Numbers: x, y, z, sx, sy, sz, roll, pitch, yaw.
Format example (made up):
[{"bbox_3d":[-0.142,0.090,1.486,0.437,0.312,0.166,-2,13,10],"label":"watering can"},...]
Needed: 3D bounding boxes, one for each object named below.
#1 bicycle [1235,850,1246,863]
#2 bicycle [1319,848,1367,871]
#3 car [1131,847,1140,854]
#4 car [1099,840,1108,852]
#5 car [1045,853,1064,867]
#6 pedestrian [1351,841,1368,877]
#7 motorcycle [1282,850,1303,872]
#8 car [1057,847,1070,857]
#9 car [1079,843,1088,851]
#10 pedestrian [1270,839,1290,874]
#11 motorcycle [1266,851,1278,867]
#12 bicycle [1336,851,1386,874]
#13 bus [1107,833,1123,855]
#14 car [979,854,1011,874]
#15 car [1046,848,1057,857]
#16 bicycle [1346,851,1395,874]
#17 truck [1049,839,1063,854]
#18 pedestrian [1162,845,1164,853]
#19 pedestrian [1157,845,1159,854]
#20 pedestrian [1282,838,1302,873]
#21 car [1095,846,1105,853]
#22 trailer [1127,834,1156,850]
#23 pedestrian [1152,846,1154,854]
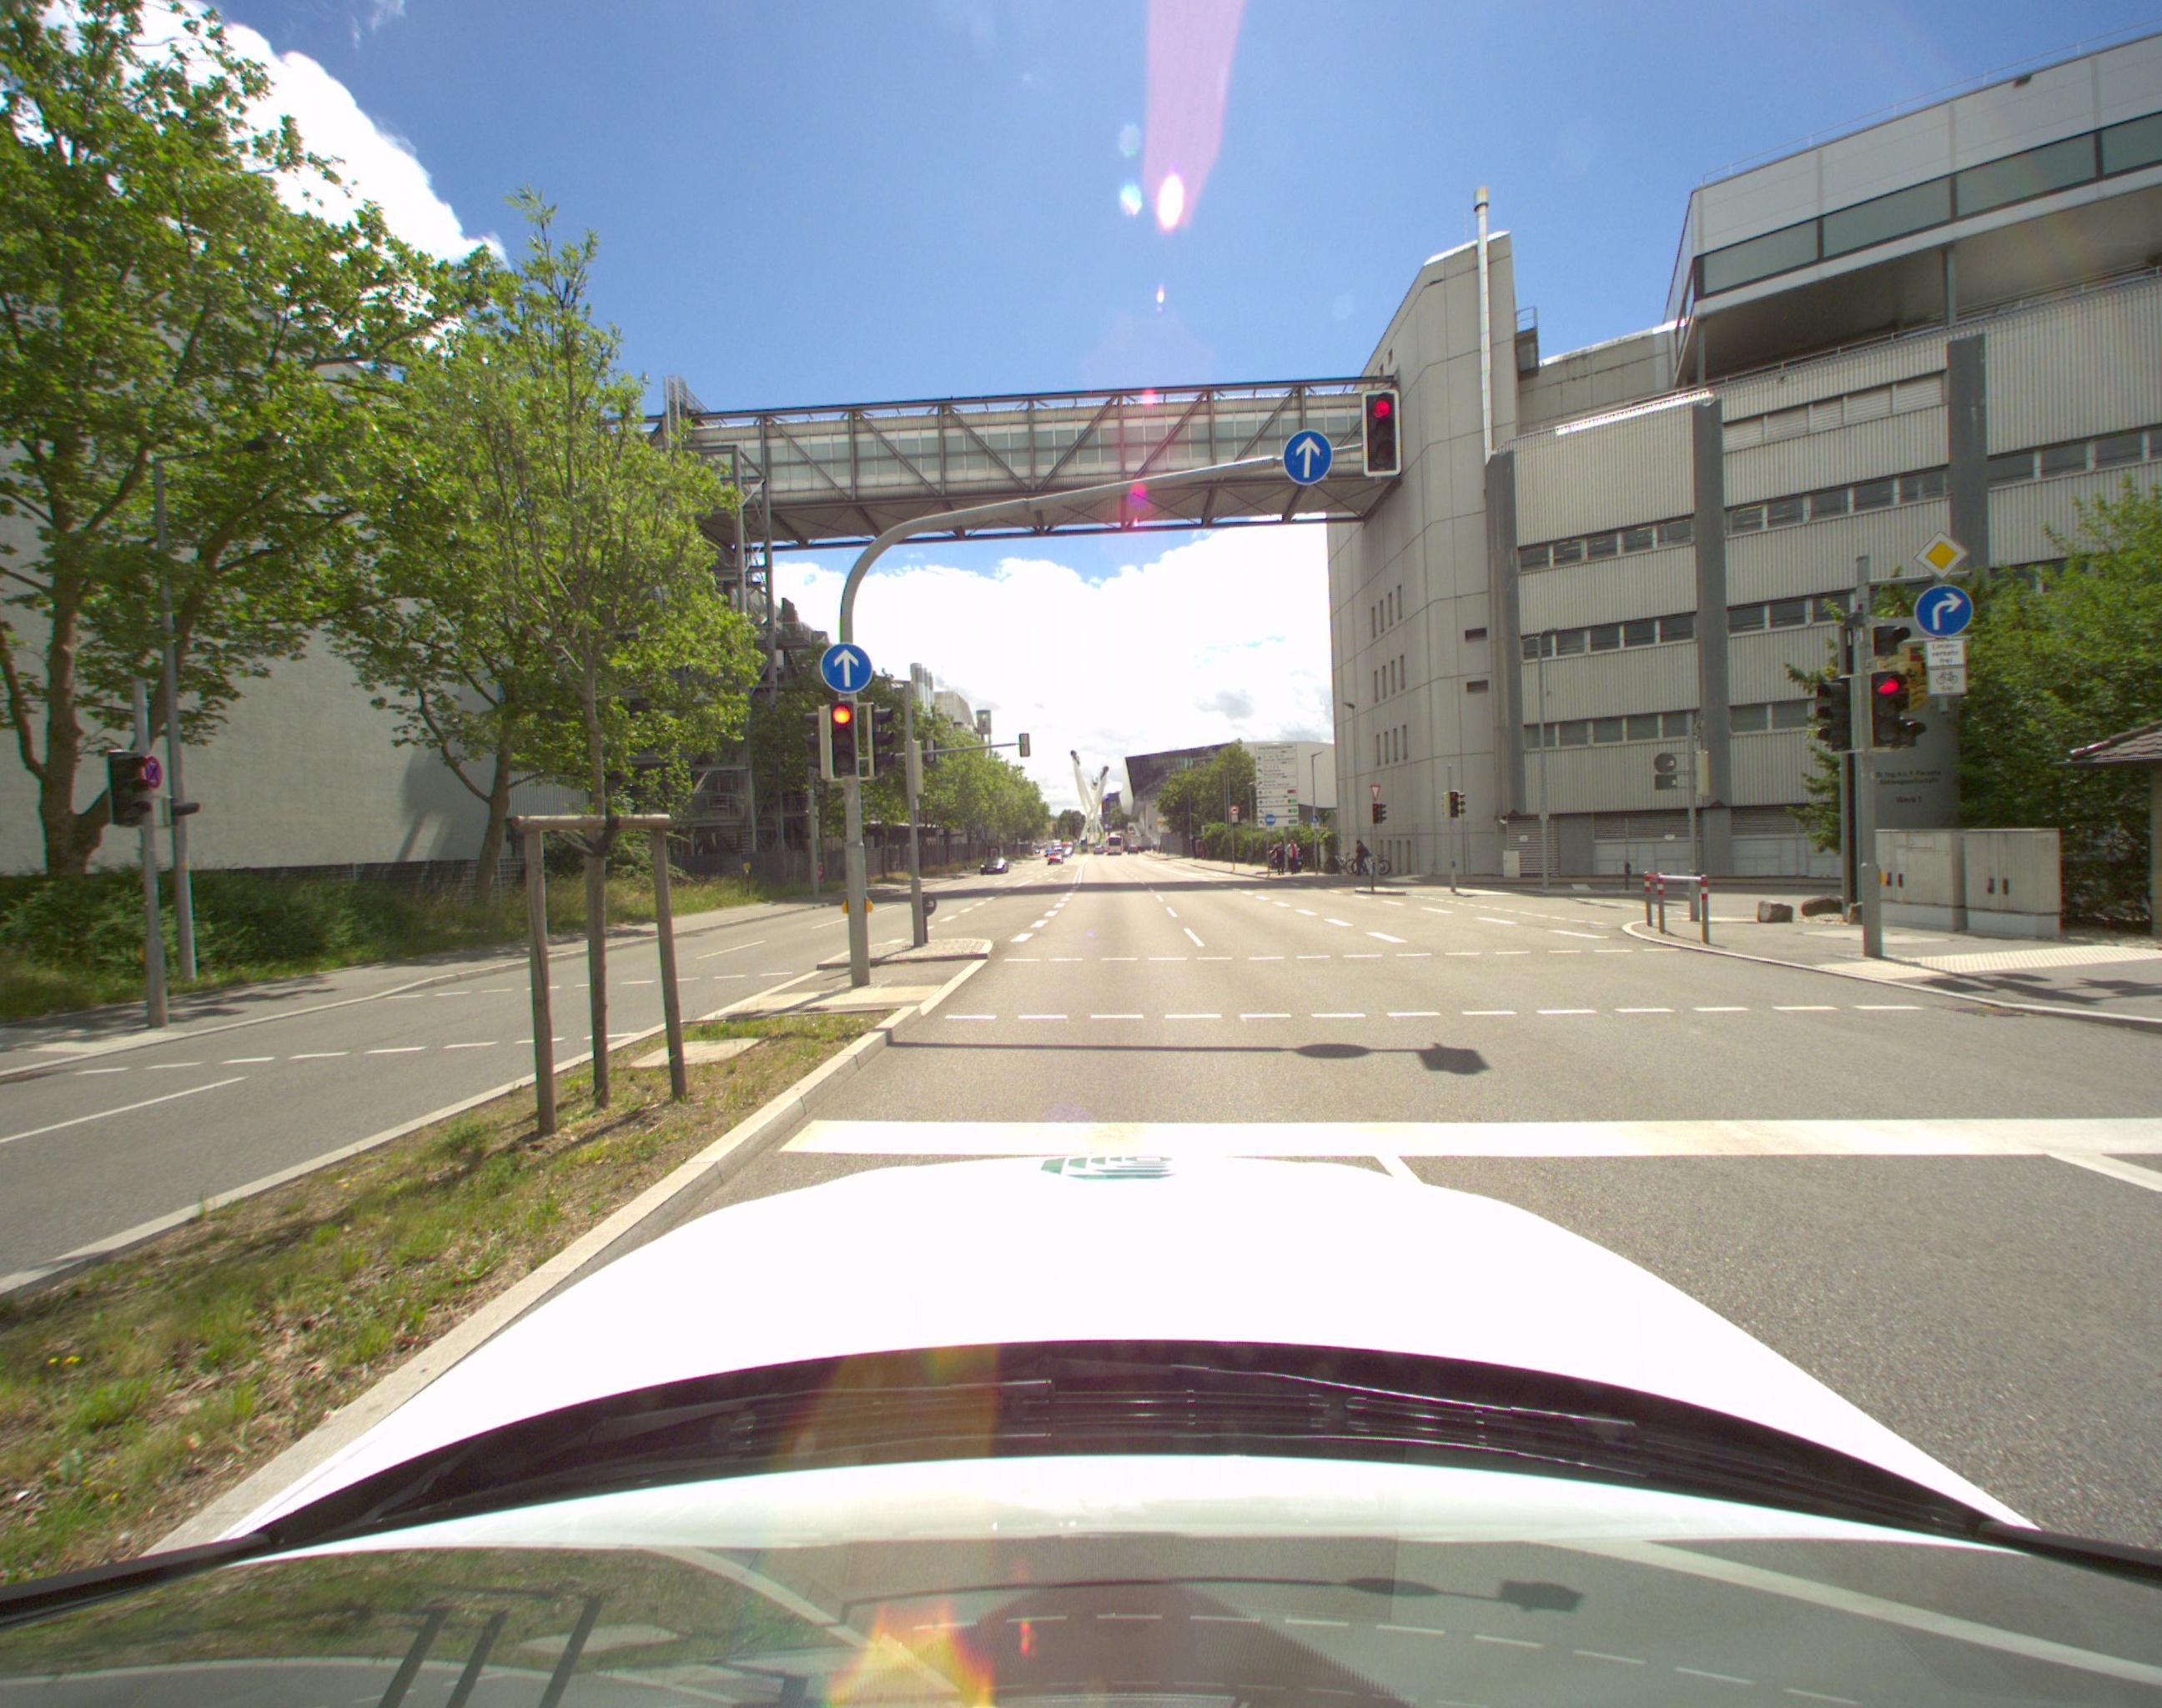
[{"bbox_3d":[12.724,0.174,65.125,0.417,1.022,1.911,0,-1,-2],"label":"bicycle"},{"bbox_3d":[13.083,0.280,40.699,2.196,1.086,0.480,-1,-1,37],"label":"bicycle"},{"bbox_3d":[9.831,-0.619,146.250,1.551,1.273,3.704,-4,0,3],"label":"car"},{"bbox_3d":[4.741,-1.662,171.397,1.837,2.624,4.000,0,-1,0],"label":"car"},{"bbox_3d":[-2.979,0.632,92.901,1.762,1.420,3.704,-4,0,3],"label":"car"},{"bbox_3d":[12.959,0.223,37.930,0.650,1.640,0.538,-1,-1,30],"label":"pedestrian"},{"bbox_3d":[11.649,0.399,44.890,0.418,1.166,1.951,0,-1,-9],"label":"motorcycle"},{"bbox_3d":[-2.759,-0.368,131.452,1.762,1.420,3.704,-4,0,3],"label":"car"},{"bbox_3d":[0.437,-1.346,156.140,1.551,1.273,3.704,-4,0,3],"label":"car"},{"bbox_3d":[10.506,0.142,43.074,0.642,1.793,0.709,-4,0,-14],"label":"pedestrian"},{"bbox_3d":[12.173,0.338,51.867,0.455,1.022,1.914,0,-1,4],"label":"motorcycle"},{"bbox_3d":[13.516,0.404,39.355,2.196,1.086,0.480,-1,-1,37],"label":"bicycle"},{"bbox_3d":[6.049,-1.711,143.691,2.776,3.686,6.947,0,-1,3],"label":"bus"},{"bbox_3d":[-7.256,0.843,68.987,1.910,1.488,4.775,-4,0,3],"label":"car"},{"bbox_3d":[-5.350,-0.227,150.003,1.792,1.574,4.000,-1,0,0],"label":"car"},{"bbox_3d":[13.704,0.397,38.604,2.166,1.086,0.480,-1,-1,37],"label":"bicycle"},{"bbox_3d":[-5.702,-1.652,187.212,2.581,3.324,7.083,0,-1,3],"label":"truck"},{"bbox_3d":[13.941,-0.829,138.430,0.384,1.421,0.424,0,-1,2],"label":"pedestrian"},{"bbox_3d":[12.959,-0.716,137.093,0.384,1.421,0.424,0,-1,2],"label":"pedestrian"},{"bbox_3d":[11.172,0.103,43.163,0.692,1.793,0.709,-4,0,-14],"label":"pedestrian"},{"bbox_3d":[3.438,-0.794,148.775,1.551,1.273,3.704,-4,0,3],"label":"car"},{"bbox_3d":[12.858,-2.519,172.077,3.291,2.995,10.429,-1,-1,21],"label":"trailer"},{"bbox_3d":[12.238,-0.713,137.915,0.384,1.421,0.424,0,-1,2],"label":"pedestrian"}]
